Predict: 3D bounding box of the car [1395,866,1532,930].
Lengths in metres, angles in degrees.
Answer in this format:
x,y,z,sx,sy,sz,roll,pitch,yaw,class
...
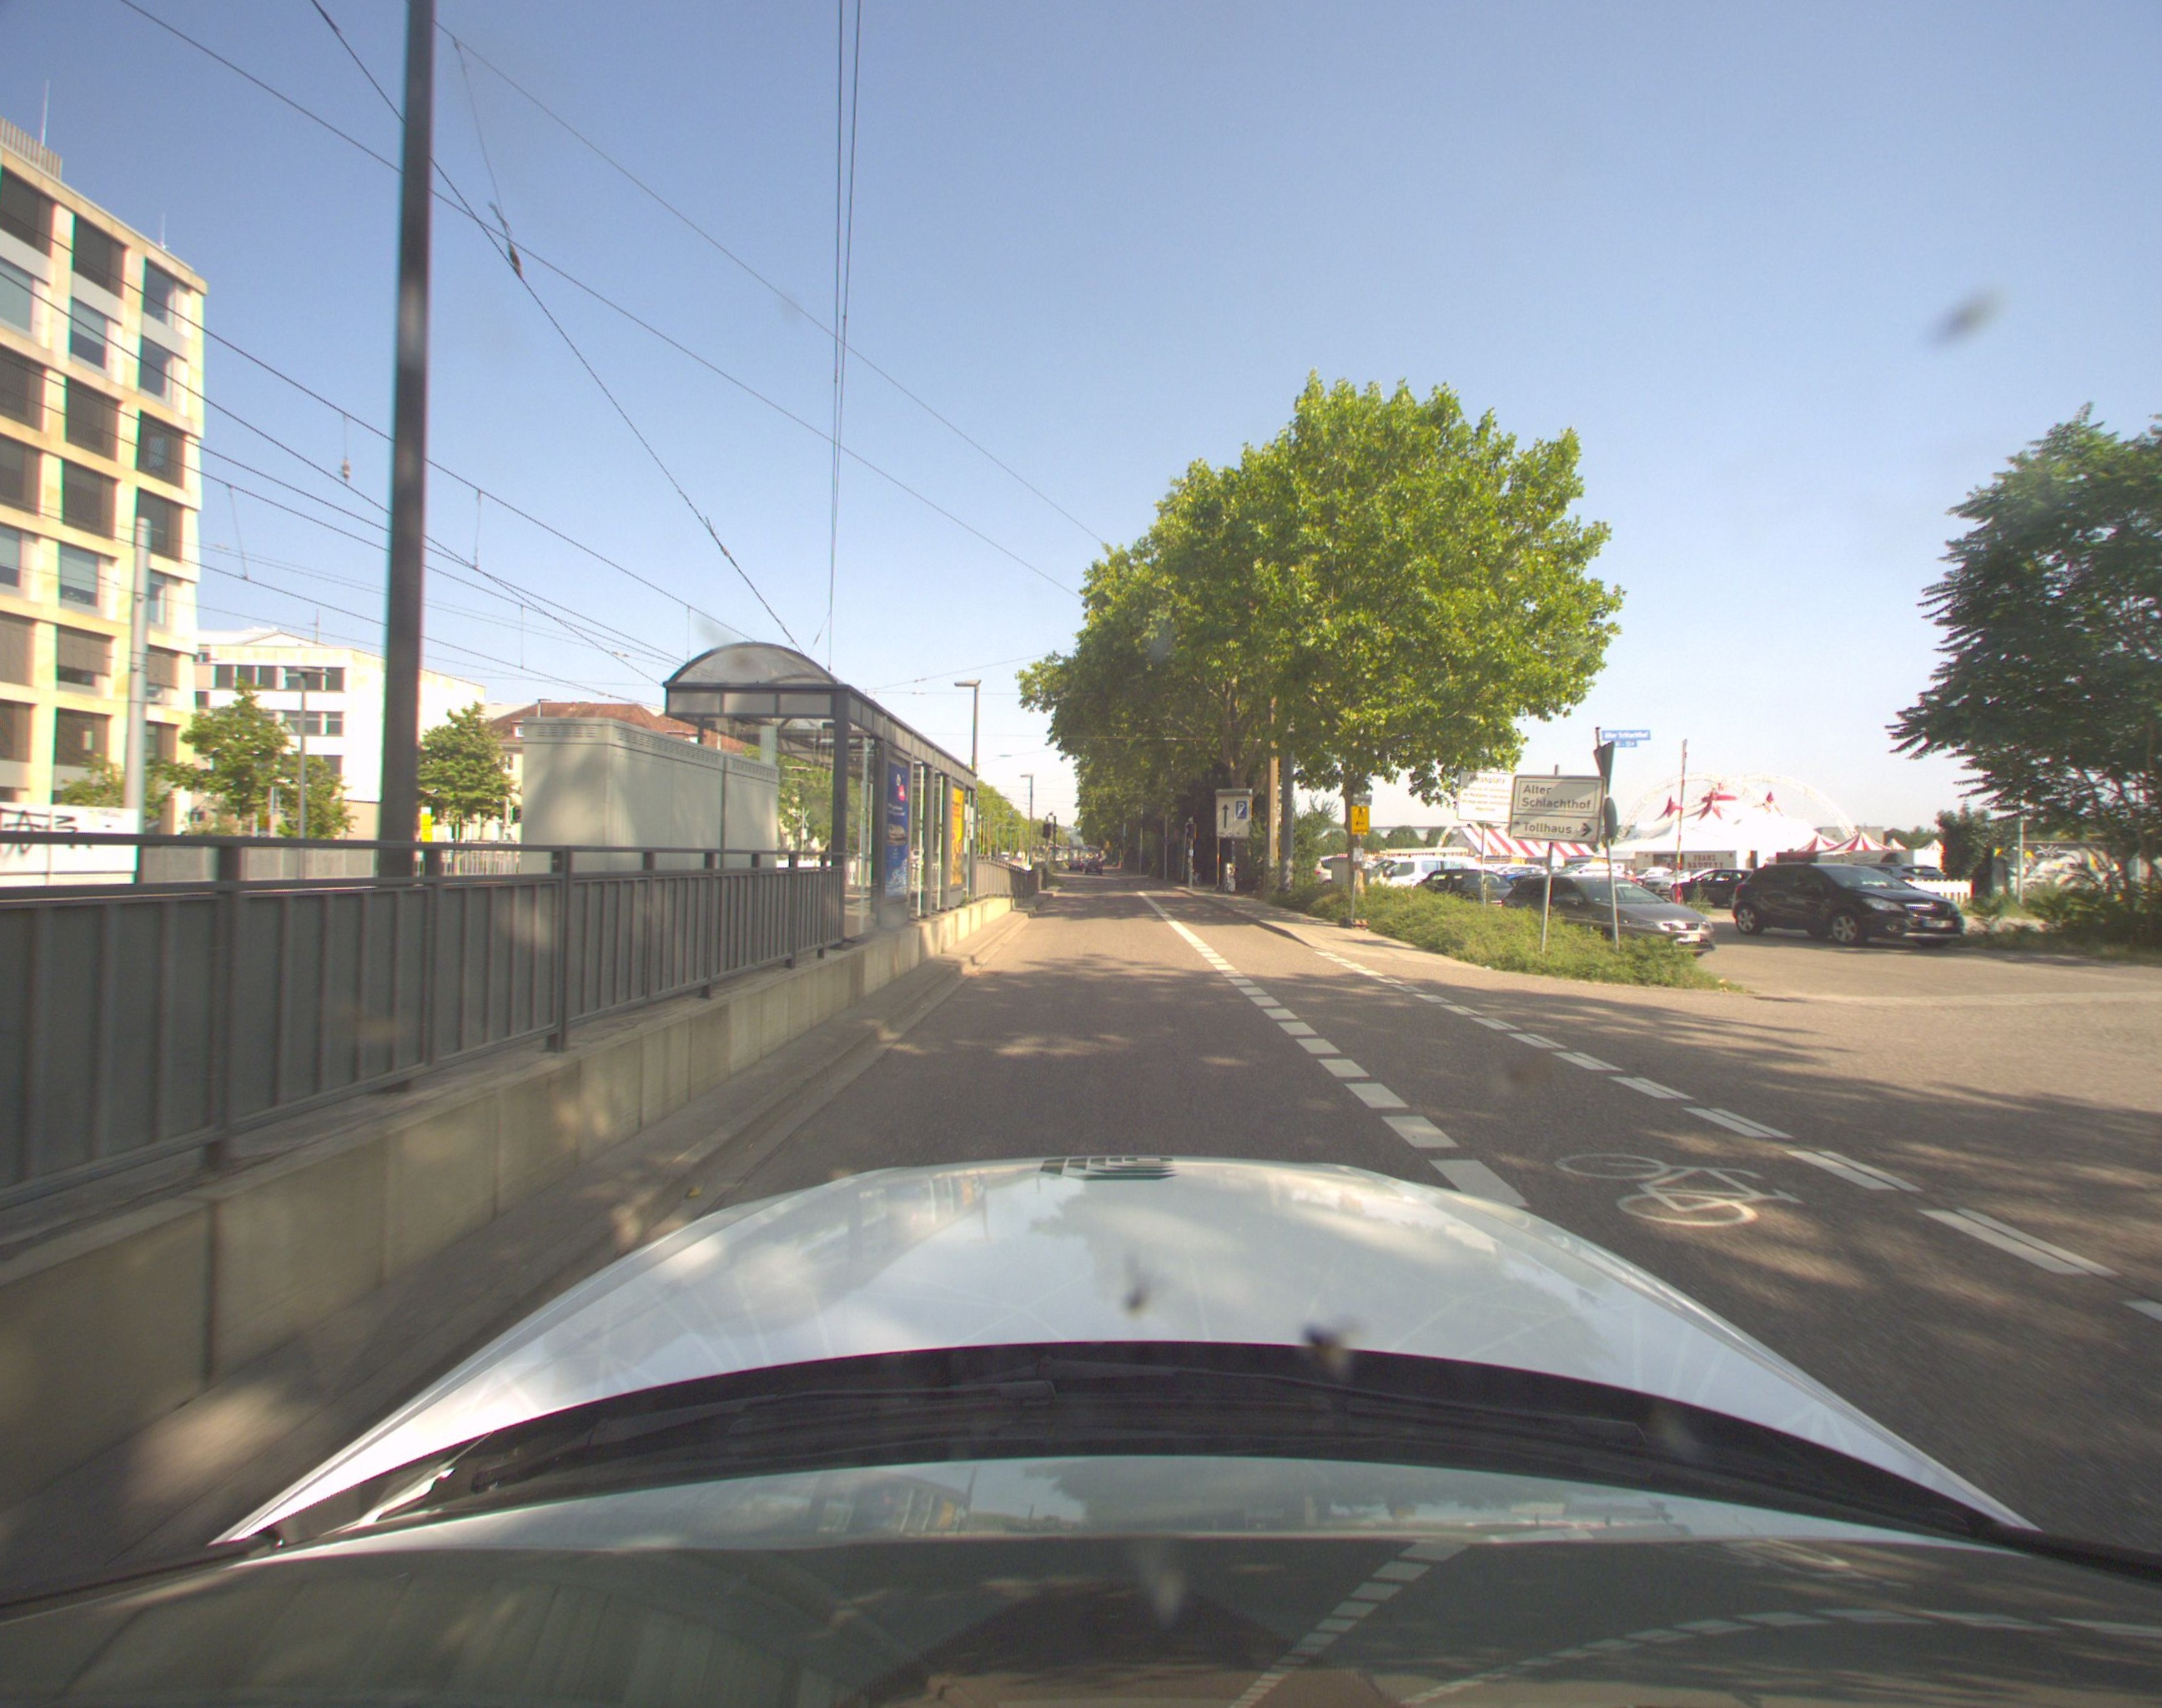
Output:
x,y,z,sx,sy,sz,roll,pitch,yaw,class
9.895,1.079,21.416,1.722,1.448,4.117,0,0,1,car

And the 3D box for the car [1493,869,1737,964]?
x,y,z,sx,sy,sz,roll,pitch,yaw,class
9.824,1.059,15.501,1.722,1.448,4.551,0,0,1,car

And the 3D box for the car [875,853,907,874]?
x,y,z,sx,sy,sz,roll,pitch,yaw,class
-17.579,0.893,75.642,1.987,1.838,3.999,-1,-1,0,car

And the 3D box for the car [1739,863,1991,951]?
x,y,z,sx,sy,sz,roll,pitch,yaw,class
15.922,0.984,16.843,1.602,1.575,3.797,0,0,1,car

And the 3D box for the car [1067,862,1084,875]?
x,y,z,sx,sy,sz,roll,pitch,yaw,class
-0.709,1.770,101.231,1.967,1.537,3.999,-2,0,-1,car

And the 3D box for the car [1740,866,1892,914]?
x,y,z,sx,sy,sz,roll,pitch,yaw,class
26.312,1.240,29.364,1.807,1.492,4.116,1,0,0,car

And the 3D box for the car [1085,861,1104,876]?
x,y,z,sx,sy,sz,roll,pitch,yaw,class
1.390,1.486,84.406,1.901,1.537,3.999,-1,0,0,car

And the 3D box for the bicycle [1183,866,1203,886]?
x,y,z,sx,sy,sz,roll,pitch,yaw,class
6.126,1.173,44.458,0.609,1.022,2.399,1,0,-3,bicycle

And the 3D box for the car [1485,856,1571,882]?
x,y,z,sx,sy,sz,roll,pitch,yaw,class
27.700,0.928,50.562,4.332,1.464,1.946,2,-1,-2,car

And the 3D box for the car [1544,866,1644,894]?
x,y,z,sx,sy,sz,roll,pitch,yaw,class
28.664,1.429,45.590,4.372,1.464,1.949,1,0,4,car

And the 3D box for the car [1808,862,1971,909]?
x,y,z,sx,sy,sz,roll,pitch,yaw,class
29.018,1.085,29.436,1.807,1.492,4.116,1,0,0,car

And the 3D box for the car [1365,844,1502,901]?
x,y,z,sx,sy,sz,roll,pitch,yaw,class
12.466,0.647,28.995,4.086,1.918,1.849,-1,0,3,car

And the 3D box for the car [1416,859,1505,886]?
x,y,z,sx,sy,sz,roll,pitch,yaw,class
22.129,1.064,47.572,4.332,1.464,1.946,2,-1,-2,car

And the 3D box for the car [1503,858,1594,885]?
x,y,z,sx,sy,sz,roll,pitch,yaw,class
27.728,1.010,48.352,4.332,1.464,1.946,2,-1,-2,car

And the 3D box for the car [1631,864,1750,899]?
x,y,z,sx,sy,sz,roll,pitch,yaw,class
27.899,1.225,37.388,3.969,1.464,1.949,1,-1,4,car

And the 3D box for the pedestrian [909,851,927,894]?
x,y,z,sx,sy,sz,roll,pitch,yaw,class
-7.001,0.799,34.997,0.707,1.821,0.770,-1,-2,-9,pedestrian

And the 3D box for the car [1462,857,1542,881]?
x,y,z,sx,sy,sz,roll,pitch,yaw,class
27.929,1.010,54.113,4.332,1.464,1.946,2,-1,-2,car

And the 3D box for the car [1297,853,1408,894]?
x,y,z,sx,sy,sz,roll,pitch,yaw,class
11.294,0.807,34.108,3.975,1.587,1.999,1,0,-1,car

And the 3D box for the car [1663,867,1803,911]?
x,y,z,sx,sy,sz,roll,pitch,yaw,class
23.515,1.208,29.593,1.807,1.395,4.116,1,0,0,car
